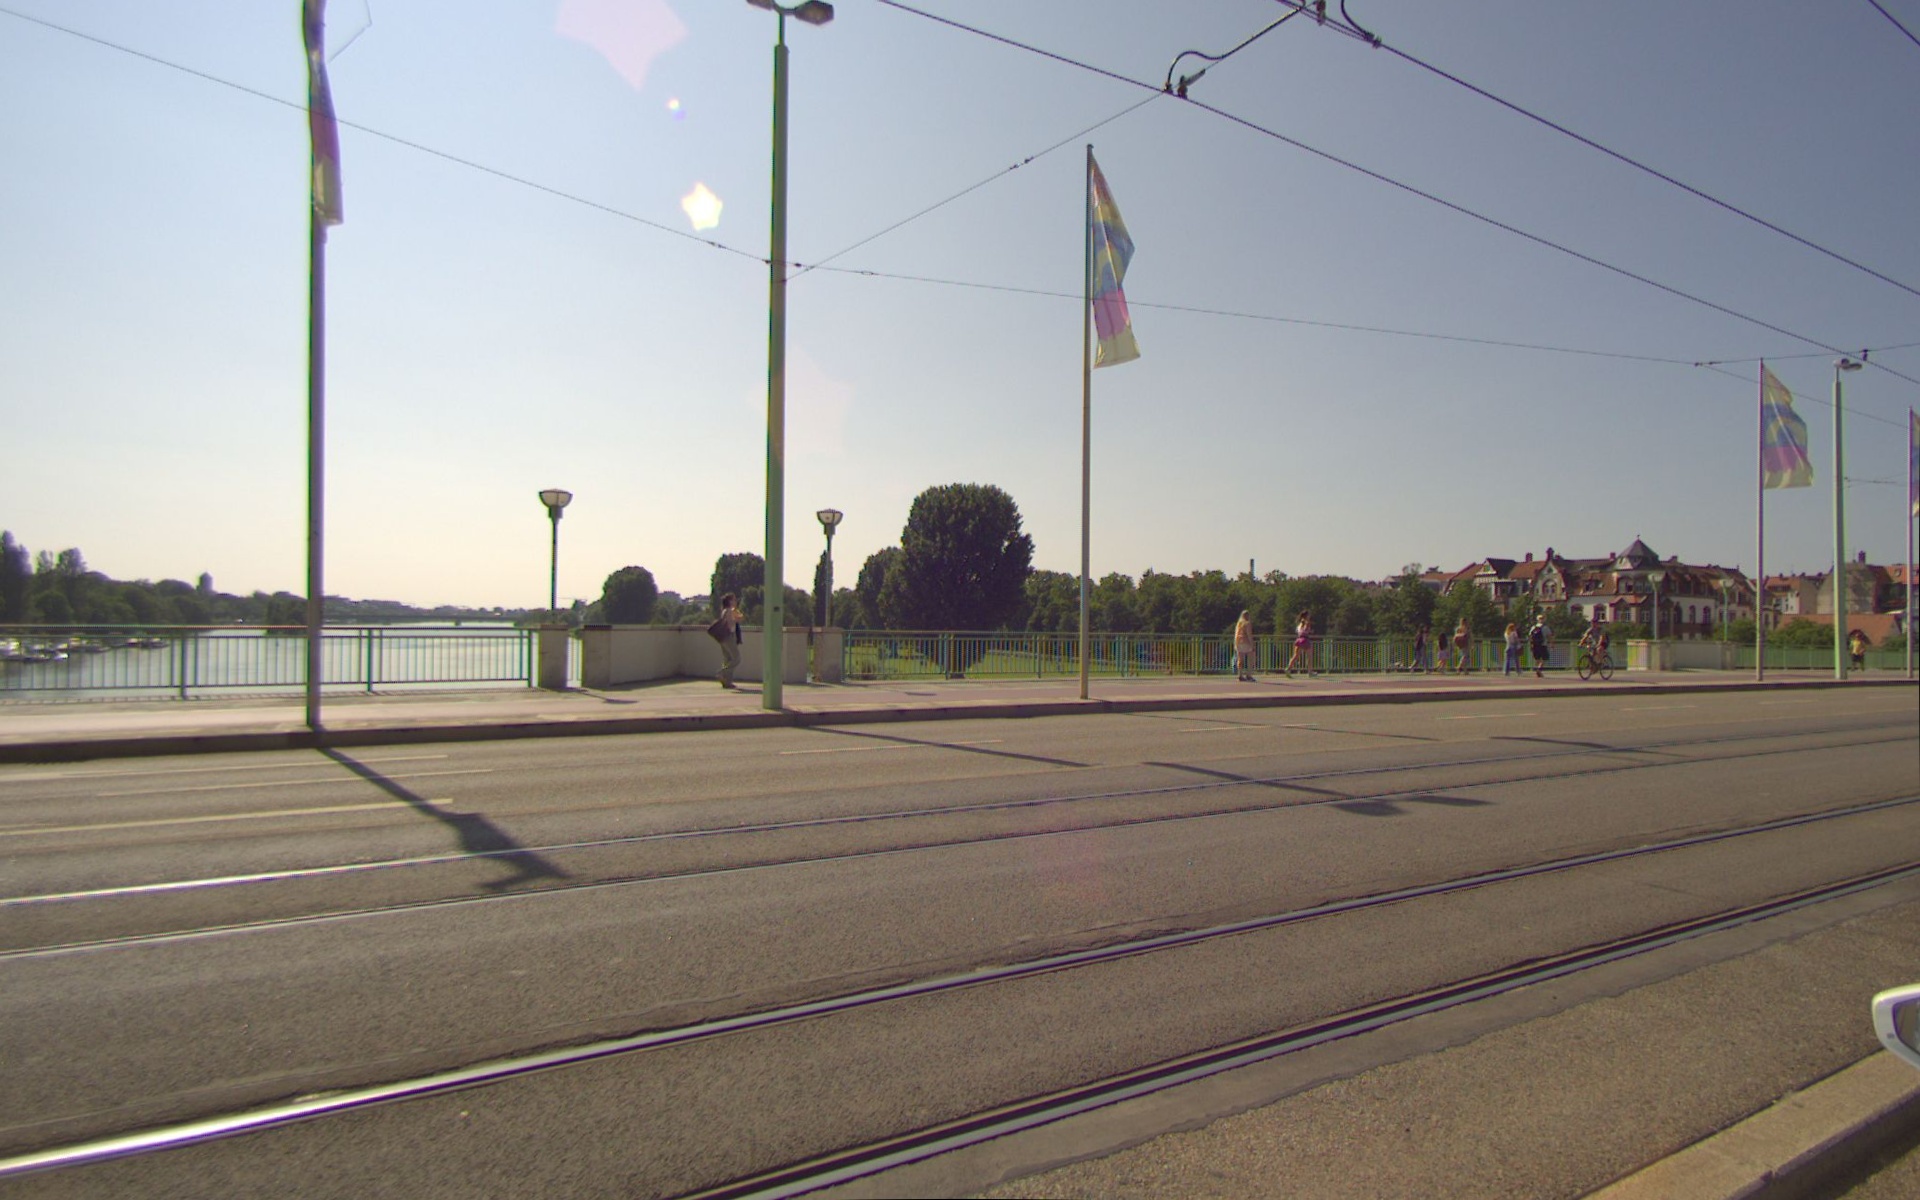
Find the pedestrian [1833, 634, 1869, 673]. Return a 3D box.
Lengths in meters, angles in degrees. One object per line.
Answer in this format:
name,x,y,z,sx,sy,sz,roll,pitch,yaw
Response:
pedestrian,39.536,2.374,44.583,1.015,1.680,0.895,1,-1,-27

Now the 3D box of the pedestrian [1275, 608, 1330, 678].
pedestrian,8.870,1.108,26.005,1.162,1.745,0.750,2,-1,-32

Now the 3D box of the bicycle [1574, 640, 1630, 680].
bicycle,18.918,1.747,29.591,2.089,1.111,0.585,1,-1,-32

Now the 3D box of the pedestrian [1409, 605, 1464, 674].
pedestrian,14.410,1.171,30.402,1.116,2.040,1.091,1,-1,-32

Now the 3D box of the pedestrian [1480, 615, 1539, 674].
pedestrian,16.638,1.325,30.443,1.281,1.752,1.091,1,-1,-32

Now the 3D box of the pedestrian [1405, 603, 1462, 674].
pedestrian,13.966,1.126,29.635,1.116,2.040,1.091,1,-1,-32

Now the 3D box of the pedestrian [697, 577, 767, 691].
pedestrian,-4.218,0.616,18.592,1.030,2.040,0.894,1,-1,-32

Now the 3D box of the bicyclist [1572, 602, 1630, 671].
bicyclist,18.875,1.066,29.579,1.116,1.987,1.091,1,-1,-32

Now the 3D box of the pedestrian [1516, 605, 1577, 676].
pedestrian,17.212,1.175,29.475,1.281,2.040,1.091,1,-1,-32

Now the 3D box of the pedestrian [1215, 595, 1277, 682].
pedestrian,6.897,0.915,24.209,1.090,2.040,0.962,1,-1,-35
